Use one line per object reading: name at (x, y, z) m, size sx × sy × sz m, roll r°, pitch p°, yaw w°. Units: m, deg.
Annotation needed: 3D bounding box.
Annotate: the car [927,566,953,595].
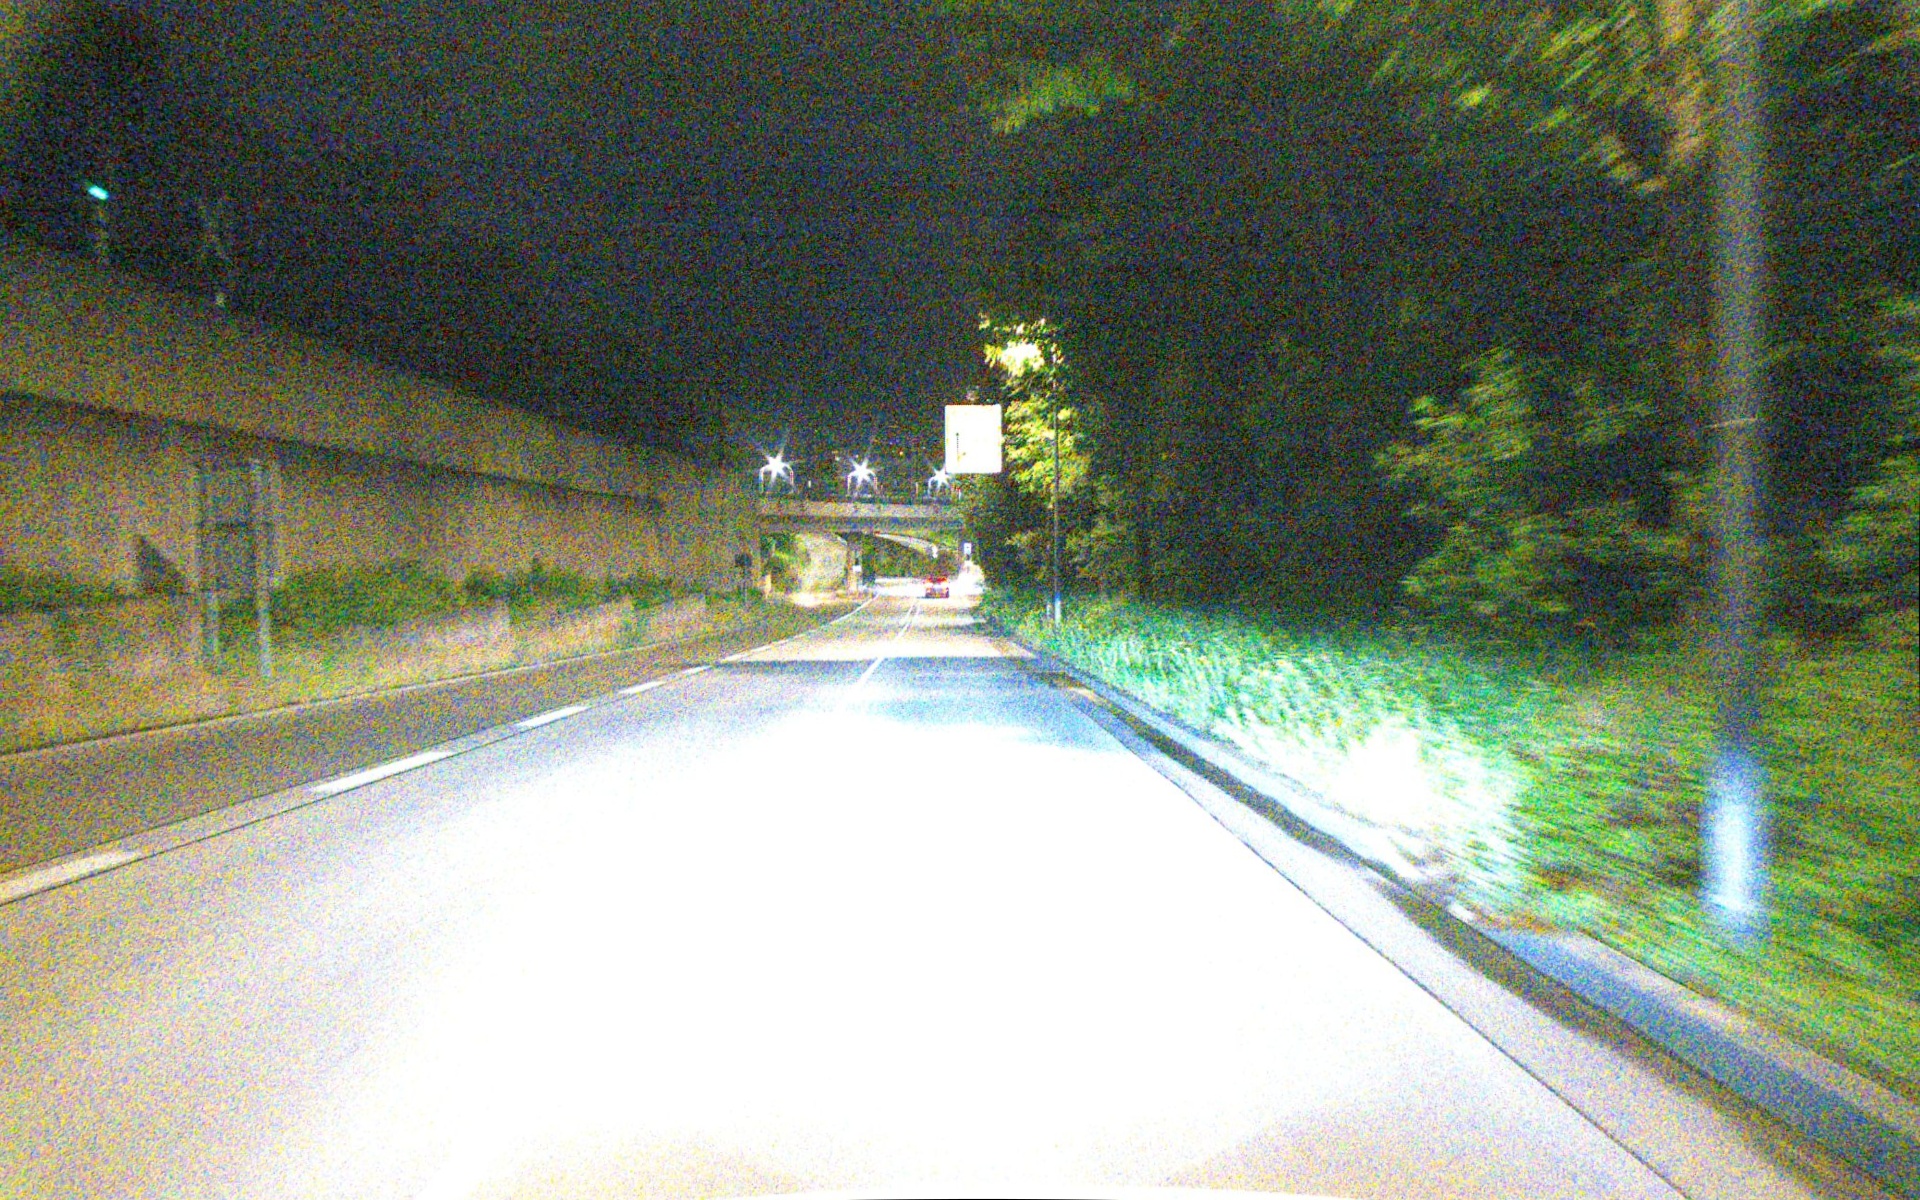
car at (-1.514, -1.412, 123.528) m, size 1.880 × 2.049 × 4.121 m, roll 1°, pitch 0°, yaw -1°
